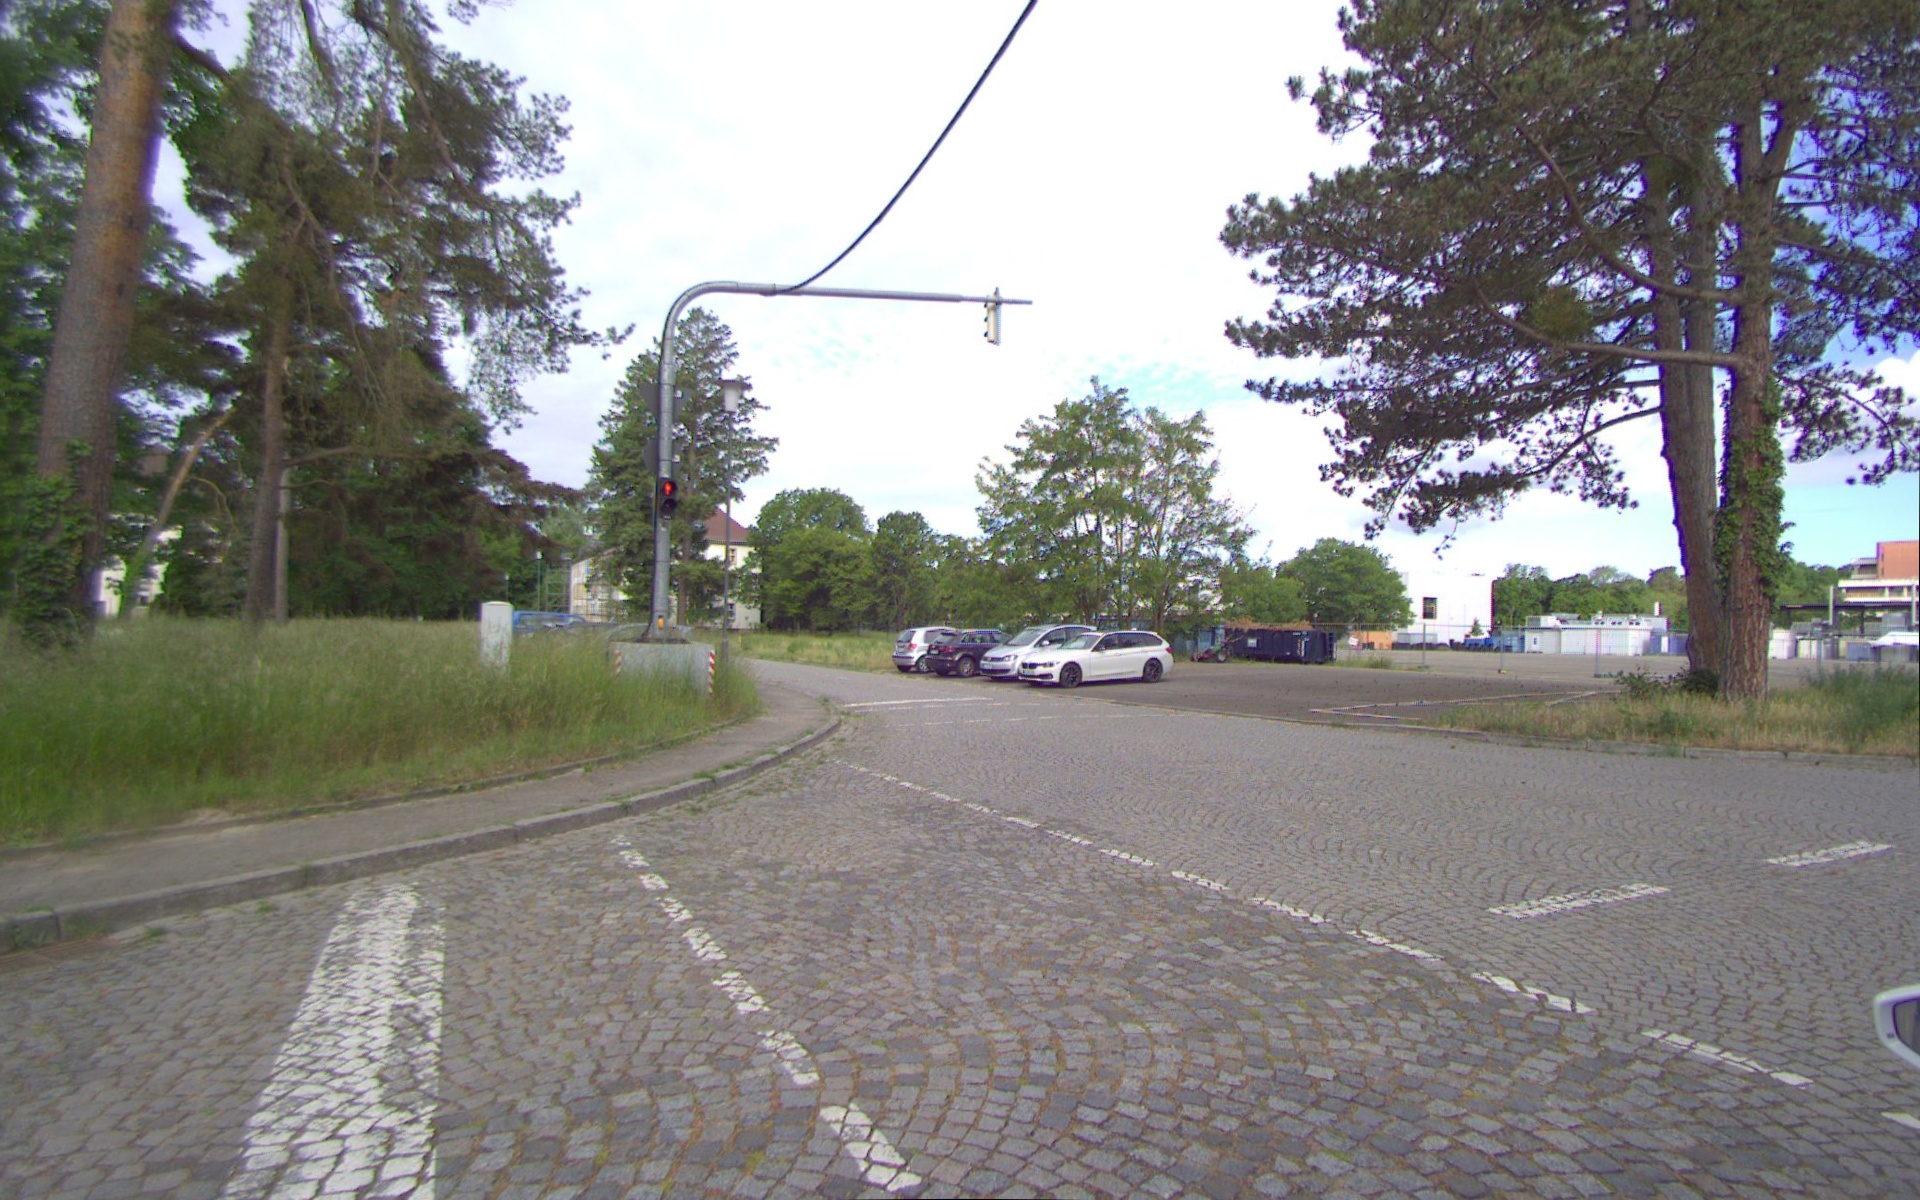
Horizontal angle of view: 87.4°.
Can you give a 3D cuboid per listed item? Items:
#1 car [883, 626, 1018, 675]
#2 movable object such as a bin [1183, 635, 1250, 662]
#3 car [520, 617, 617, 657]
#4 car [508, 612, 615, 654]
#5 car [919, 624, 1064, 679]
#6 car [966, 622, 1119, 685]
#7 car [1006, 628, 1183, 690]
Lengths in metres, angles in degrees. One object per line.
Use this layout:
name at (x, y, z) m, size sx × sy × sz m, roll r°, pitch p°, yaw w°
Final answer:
car at (-0.298, 1.709, 34.257) m, size 4.277 × 1.587 × 1.784 m, roll 2°, pitch -2°, yaw -31°
movable object such as a bin at (10.533, 1.976, 41.231) m, size 2.630 × 1.061 × 1.171 m, roll 2°, pitch -2°, yaw -33°
car at (-17.446, 1.647, 44.791) m, size 3.947 × 1.736 × 1.680 m, roll 1°, pitch -1°, yaw -26°
car at (-19.633, 1.619, 49.545) m, size 4.733 × 2.007 × 1.984 m, roll 1°, pitch -1°, yaw -28°
car at (1.023, 1.588, 31.935) m, size 4.276 × 1.522 × 1.845 m, roll -1°, pitch 0°, yaw -31°
car at (2.456, 1.523, 29.675) m, size 4.276 × 1.605 × 1.812 m, roll -1°, pitch 0°, yaw -31°
car at (3.705, 1.553, 27.422) m, size 4.685 × 1.461 × 1.801 m, roll 0°, pitch -1°, yaw -31°
